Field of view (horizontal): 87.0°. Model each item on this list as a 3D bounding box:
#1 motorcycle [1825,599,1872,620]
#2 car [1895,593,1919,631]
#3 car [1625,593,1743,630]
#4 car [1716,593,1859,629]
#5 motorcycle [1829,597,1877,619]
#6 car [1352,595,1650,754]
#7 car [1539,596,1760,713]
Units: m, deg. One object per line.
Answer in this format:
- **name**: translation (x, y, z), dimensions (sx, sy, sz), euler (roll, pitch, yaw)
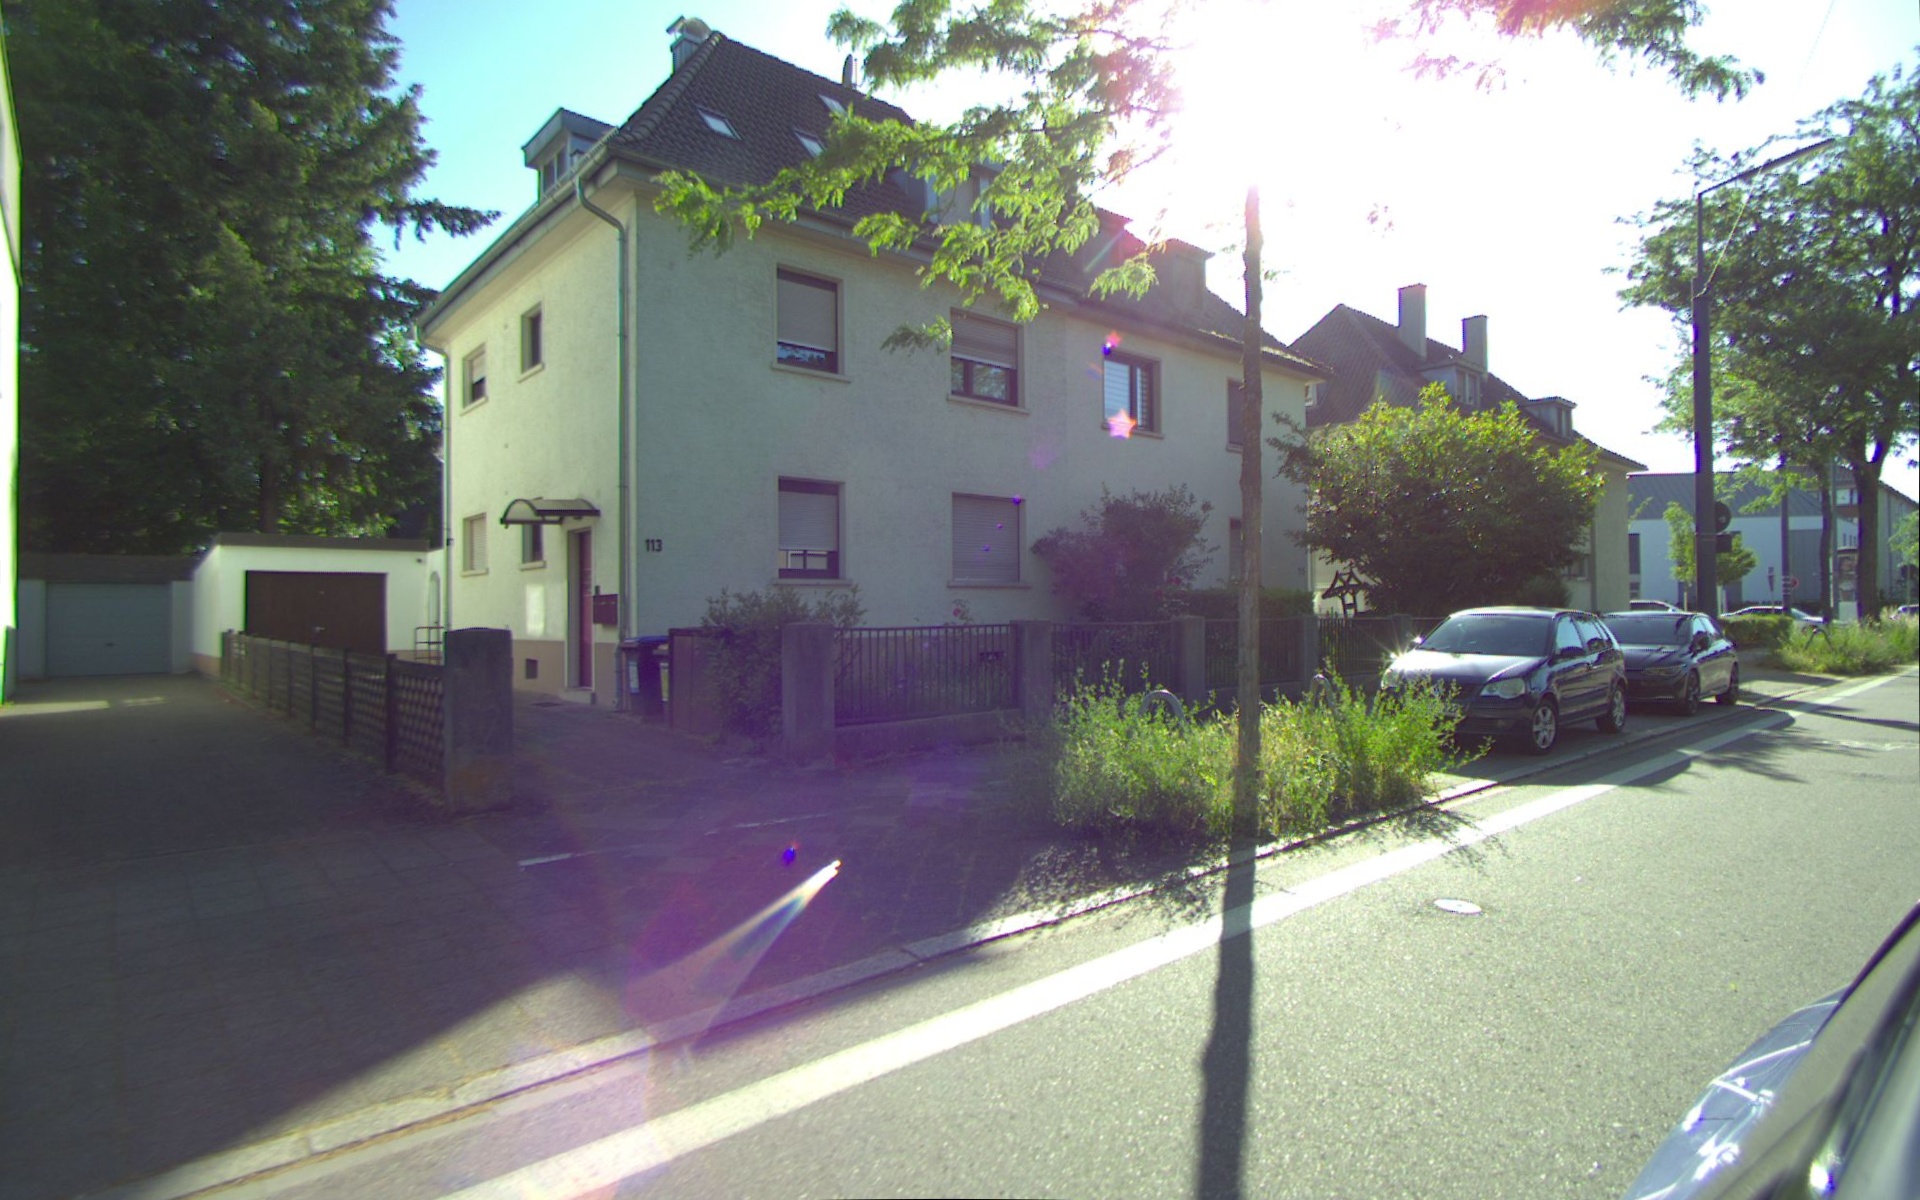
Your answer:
- **motorcycle**: translation (51.238, 0.546, 58.351), dimensions (1.997, 1.172, 0.849), euler (-1, -1, 43)
- **car**: translation (40.256, 0.445, 40.302), dimensions (1.943, 1.527, 4.002), euler (0, -1, -31)
- **car**: translation (33.681, 0.547, 47.163), dimensions (1.948, 1.663, 4.167), euler (0, -1, -42)
- **car**: translation (37.423, 0.489, 45.916), dimensions (1.942, 1.484, 4.623), euler (-2, 1, -29)
- **motorcycle**: translation (52.341, 0.458, 59.327), dimensions (2.076, 1.290, 0.849), euler (-1, -1, 43)
- **car**: translation (6.280, 0.698, 11.572), dimensions (3.927, 1.514, 1.751), euler (0, 0, -41)
- **car**: translation (10.494, 0.702, 15.275), dimensions (4.366, 1.514, 1.751), euler (0, 0, -41)
